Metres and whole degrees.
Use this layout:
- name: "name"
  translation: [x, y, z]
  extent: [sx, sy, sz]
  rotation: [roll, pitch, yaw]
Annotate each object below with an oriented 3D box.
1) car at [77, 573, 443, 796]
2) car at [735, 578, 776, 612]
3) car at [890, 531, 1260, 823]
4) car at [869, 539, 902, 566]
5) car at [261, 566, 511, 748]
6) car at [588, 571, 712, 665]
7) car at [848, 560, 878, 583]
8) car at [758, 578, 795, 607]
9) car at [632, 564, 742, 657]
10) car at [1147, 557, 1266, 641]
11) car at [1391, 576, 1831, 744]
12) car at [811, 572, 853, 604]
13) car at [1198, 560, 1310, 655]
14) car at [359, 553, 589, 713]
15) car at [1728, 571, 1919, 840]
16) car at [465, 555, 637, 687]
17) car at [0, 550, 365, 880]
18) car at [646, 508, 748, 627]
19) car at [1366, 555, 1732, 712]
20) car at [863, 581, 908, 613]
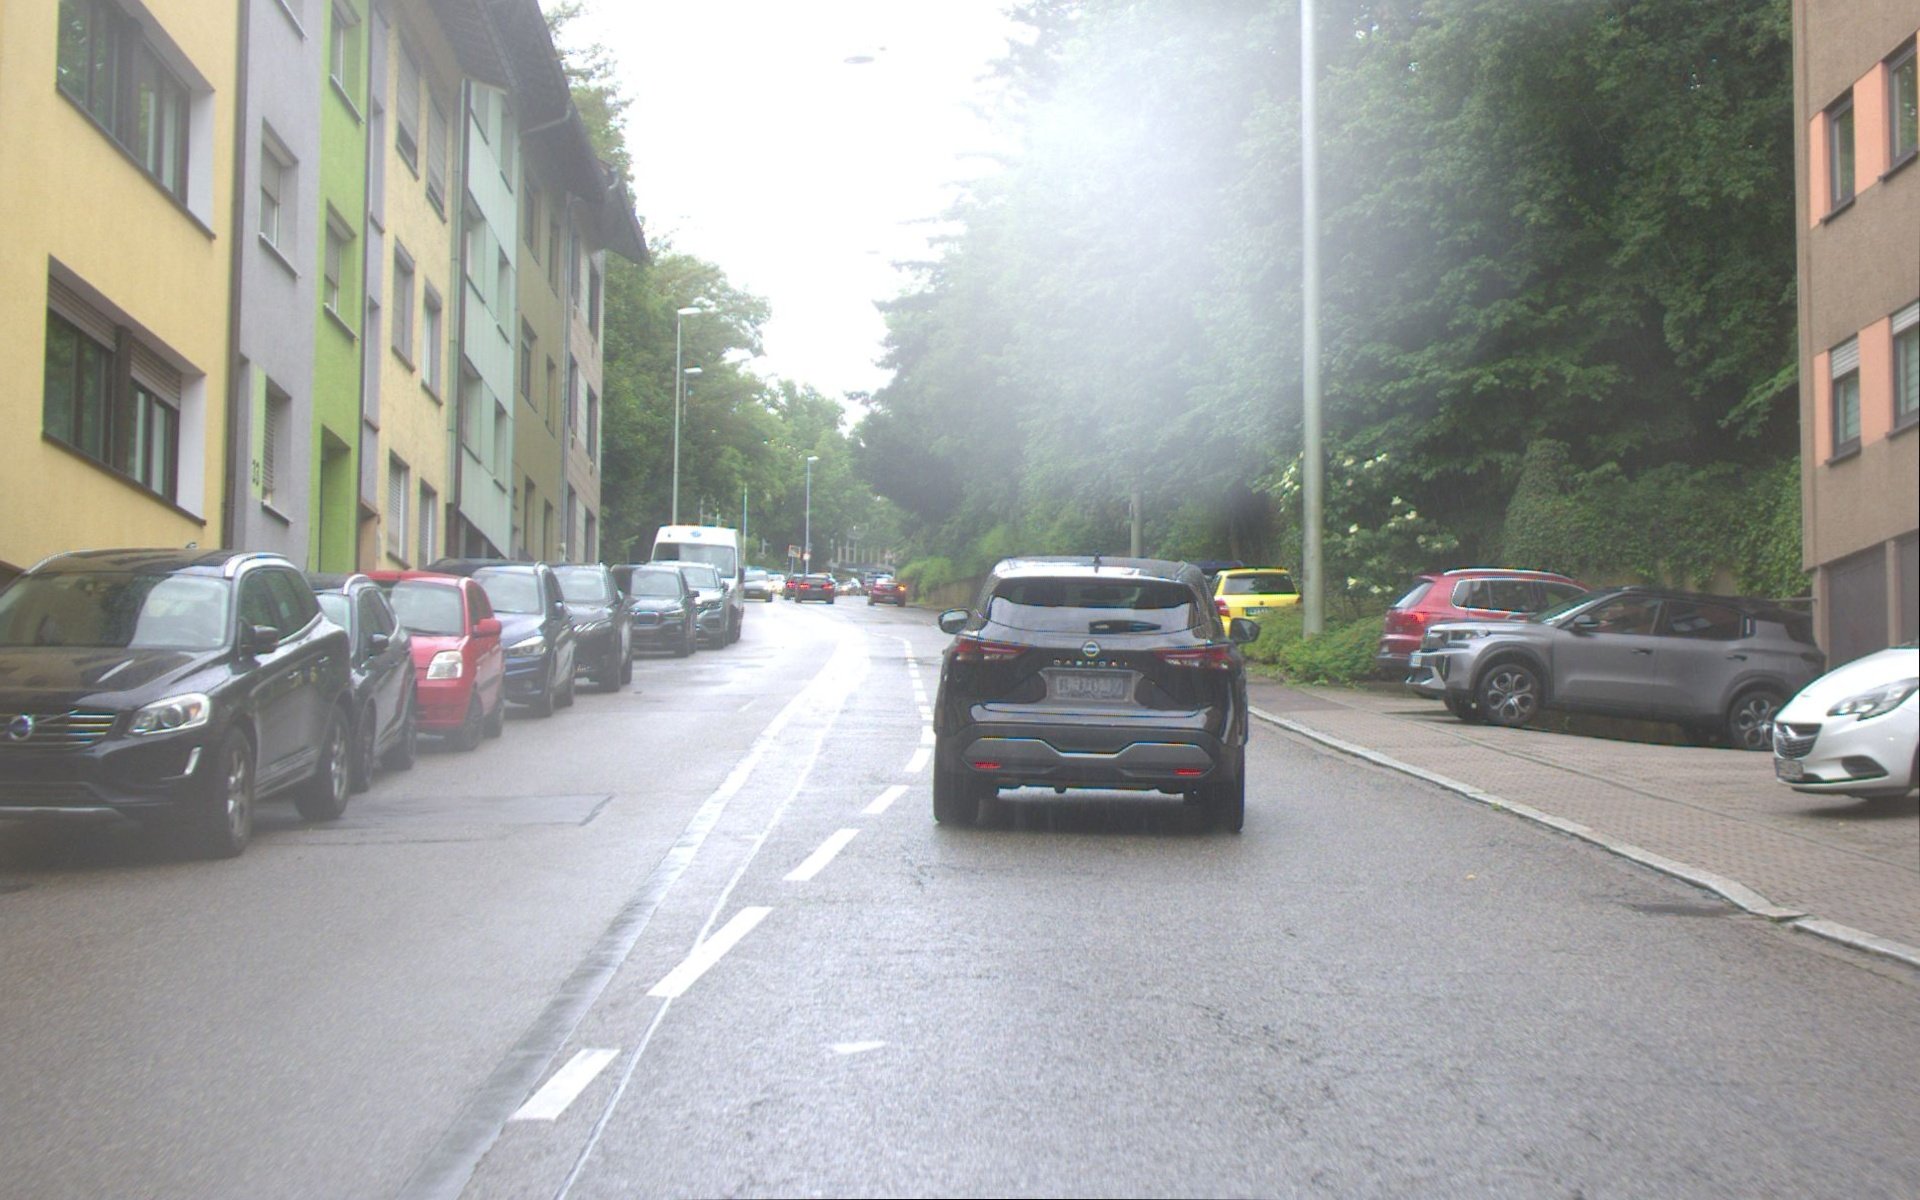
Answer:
- name: "car"
  translation: [-5.078, 0.559, 25.533]
  extent: [1.993, 1.467, 4.349]
  rotation: [0, 1, -2]
- name: "car"
  translation: [-10.388, -0.273, 175.123]
  extent: [1.993, 1.554, 4.001]
  rotation: [2, 1, -3]
- name: "car"
  translation: [0.599, 0.389, 21.095]
  extent: [1.993, 1.554, 4.000]
  rotation: [2, 1, -1]
- name: "car"
  translation: [-4.744, -3.020, 219.505]
  extent: [1.993, 1.554, 4.000]
  rotation: [0, -1, 1]
- name: "car"
  translation: [-4.954, 0.451, 30.045]
  extent: [1.728, 1.467, 3.491]
  rotation: [0, 1, -2]
- name: "car"
  translation: [-5.518, 0.290, 61.660]
  extent: [1.990, 1.580, 4.305]
  rotation: [0, 1, -2]
- name: "car"
  translation: [-7.071, -2.049, 250.387]
  extent: [1.993, 1.554, 4.000]
  rotation: [0, -1, 1]
- name: "car"
  translation: [-10.573, -0.433, 198.148]
  extent: [2.074, 1.554, 4.000]
  rotation: [1, 1, -2]
- name: "car"
  translation: [-5.356, 0.183, 67.950]
  extent: [1.990, 1.749, 4.480]
  rotation: [0, 1, -2]
- name: "car"
  translation: [4.728, -0.045, 66.416]
  extent: [1.810, 1.525, 4.417]
  rotation: [-1, 1, -2]
- name: "car"
  translation: [6.841, 0.616, 36.375]
  extent: [4.197, 1.491, 1.760]
  rotation: [3, 0, -3]
- name: "car"
  translation: [-6.566, -0.614, 176.468]
  extent: [2.074, 1.554, 4.000]
  rotation: [1, 1, -3]
- name: "car"
  translation: [5.067, 0.108, 59.597]
  extent: [1.633, 1.525, 4.000]
  rotation: [2, 1, 1]
- name: "car"
  translation: [-5.121, 0.304, 36.734]
  extent: [1.993, 1.580, 4.472]
  rotation: [0, 1, -2]
- name: "car"
  translation: [7.121, 0.522, 21.808]
  extent: [3.961, 1.525, 1.693]
  rotation: [-5, 1, -5]
- name: "car"
  translation: [-5.188, 0.228, 44.023]
  extent: [1.853, 1.580, 4.305]
  rotation: [0, 1, -2]
- name: "car"
  translation: [-4.804, 0.547, 19.562]
  extent: [1.993, 1.644, 4.441]
  rotation: [0, 1, 1]
- name: "car"
  translation: [-5.672, -0.722, 74.710]
  extent: [1.990, 2.466, 5.785]
  rotation: [0, 1, -2]
- name: "car"
  translation: [7.472, 0.411, 43.848]
  extent: [4.197, 1.729, 1.760]
  rotation: [3, 0, -5]
- name: "car"
  translation: [-3.842, -0.181, 176.981]
  extent: [2.074, 1.554, 4.001]
  rotation: [1, 1, -4]
